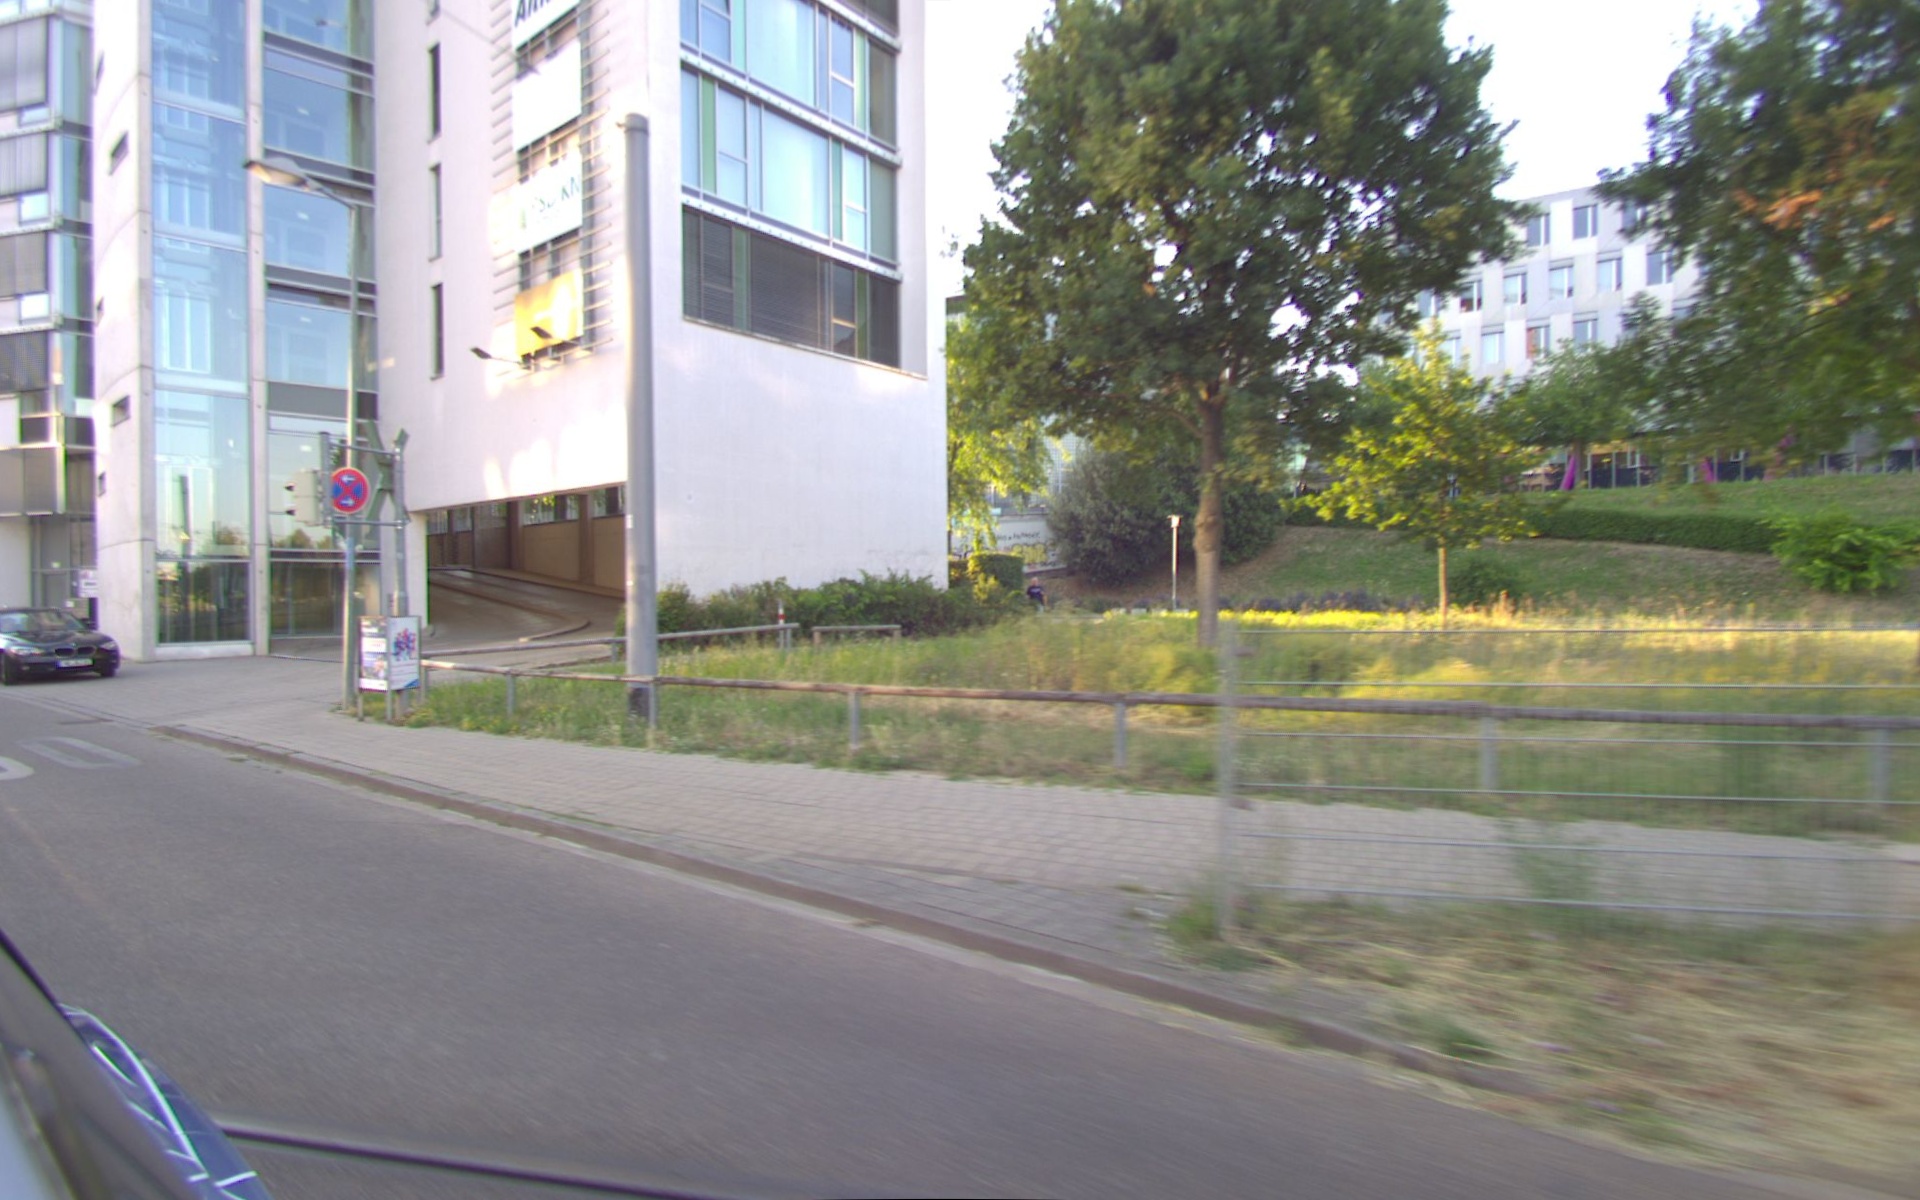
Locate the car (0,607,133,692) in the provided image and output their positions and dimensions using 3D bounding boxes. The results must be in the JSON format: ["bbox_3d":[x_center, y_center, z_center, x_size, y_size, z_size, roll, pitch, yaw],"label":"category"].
[{"bbox_3d":[-18.458,0.934,20.048,4.212,1.453,1.840,-1,1,31],"label":"car"}]

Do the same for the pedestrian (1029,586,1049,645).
[{"bbox_3d":[2.533,0.493,32.442,0.480,1.850,0.447,-2,1,19],"label":"pedestrian"}]
